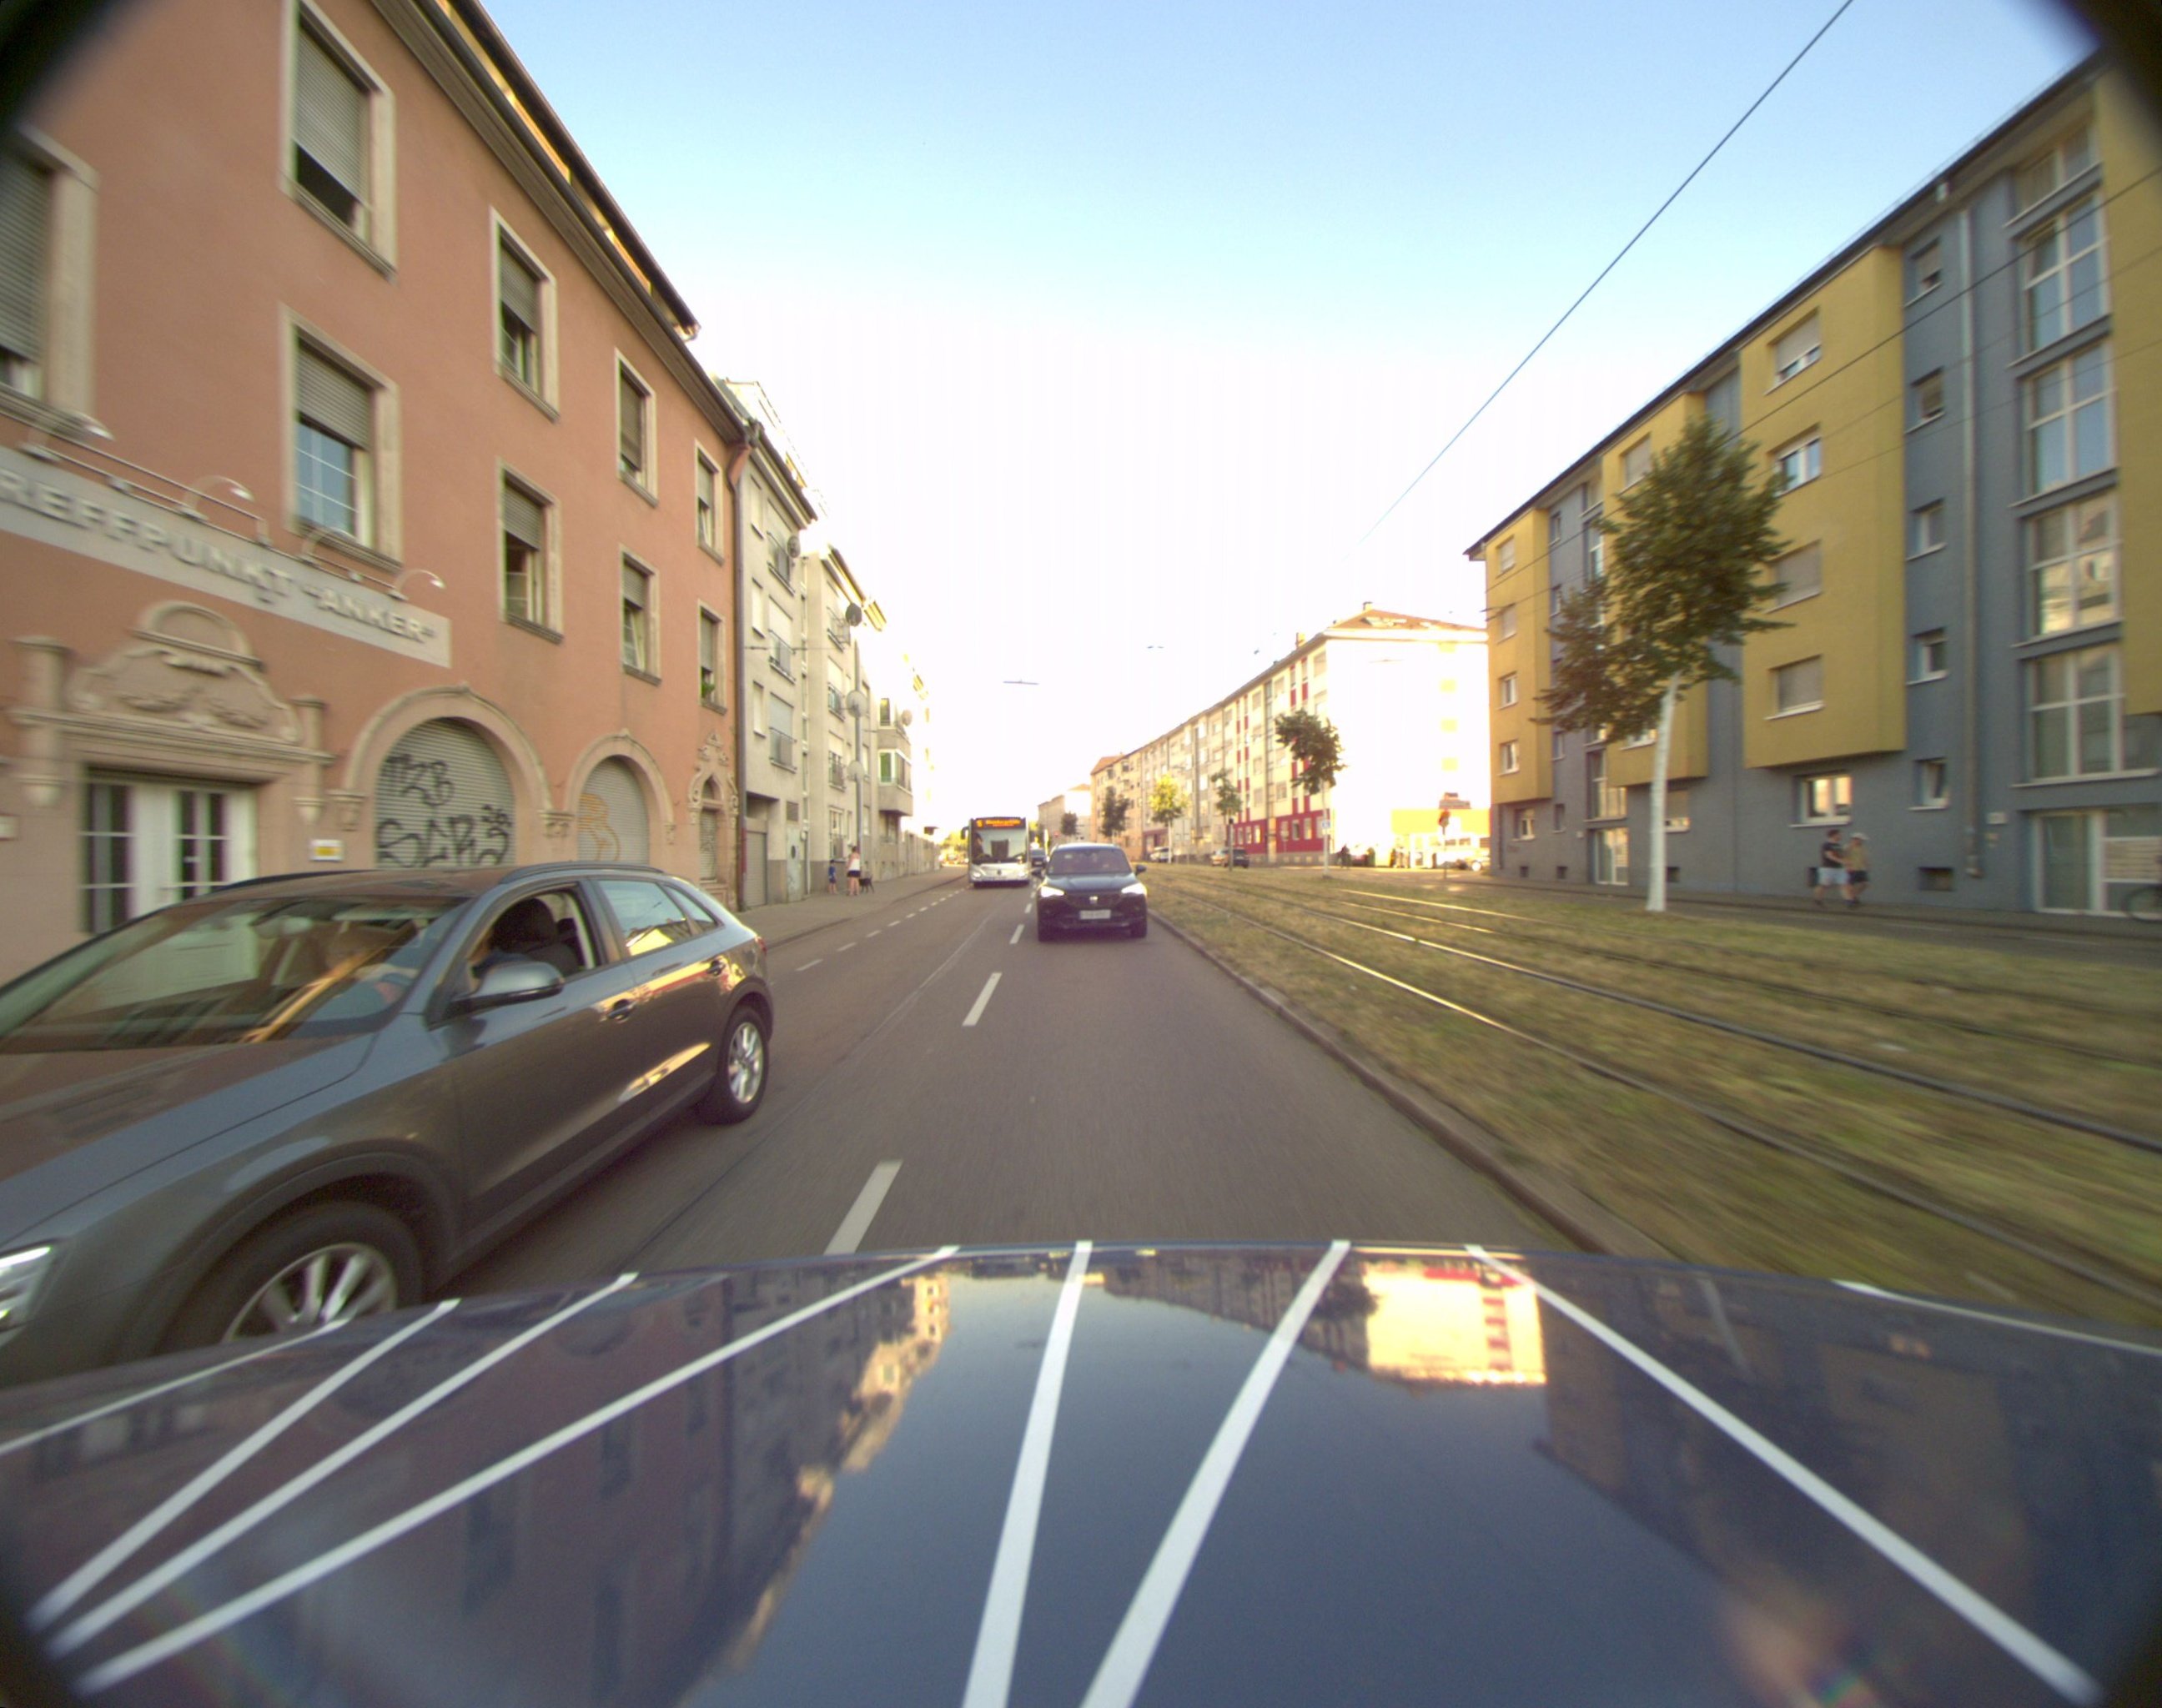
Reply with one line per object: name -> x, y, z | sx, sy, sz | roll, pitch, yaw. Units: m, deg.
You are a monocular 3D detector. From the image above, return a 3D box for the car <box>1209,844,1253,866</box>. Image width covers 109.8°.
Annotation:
car -> 10.779, 0.026, 54.816 | 1.799, 1.460, 4.792 | 1, 1, -5

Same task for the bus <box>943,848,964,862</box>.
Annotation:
bus -> -28.682, 0.303, 170.082 | 3.878, 2.836, 13.812 | -2, 0, -12

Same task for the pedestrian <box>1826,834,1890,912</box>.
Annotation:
pedestrian -> 17.599, 0.422, 17.226 | 0.618, 1.685, 0.706 | -5, 1, -2

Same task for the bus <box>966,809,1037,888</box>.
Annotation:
bus -> -3.660, -0.233, 35.568 | 2.733, 3.059, 10.594 | -2, 0, -5

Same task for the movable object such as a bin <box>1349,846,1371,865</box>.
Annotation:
movable object such as a bin -> 18.906, 0.080, 51.575 | 1.161, 1.279, 0.805 | -1, 1, -6

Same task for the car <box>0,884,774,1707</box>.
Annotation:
car -> -2.891, 0.997, 2.876 | 1.771, 1.578, 4.068 | -2, 0, 0

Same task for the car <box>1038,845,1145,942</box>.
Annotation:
car -> 0.171, 0.688, 15.298 | 1.788, 1.614, 4.216 | -2, 0, 0

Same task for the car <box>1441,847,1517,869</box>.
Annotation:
car -> 24.697, 0.224, 47.186 | 3.873, 1.286, 1.701 | -1, 0, -5

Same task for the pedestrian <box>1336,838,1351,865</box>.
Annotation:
pedestrian -> 16.906, -0.156, 48.889 | 0.615, 1.679, 0.791 | -1, 1, -7

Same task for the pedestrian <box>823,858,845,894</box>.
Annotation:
pedestrian -> -8.519, 0.758, 26.237 | 0.589, 1.244, 0.584 | 0, 0, -2

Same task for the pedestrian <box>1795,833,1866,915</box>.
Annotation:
pedestrian -> 16.795, 0.437, 17.048 | 0.594, 1.763, 0.885 | -5, 1, -2

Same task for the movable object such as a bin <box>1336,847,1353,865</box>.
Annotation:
movable object such as a bin -> 17.835, 0.125, 51.446 | 0.869, 1.219, 0.805 | -1, 1, -6

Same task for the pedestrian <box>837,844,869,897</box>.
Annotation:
pedestrian -> -7.705, 0.549, 25.717 | 0.832, 1.761, 0.995 | 0, 0, -2

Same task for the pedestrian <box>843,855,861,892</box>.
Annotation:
pedestrian -> -8.347, 0.699, 27.759 | 0.515, 1.337, 0.609 | 0, 2, -6

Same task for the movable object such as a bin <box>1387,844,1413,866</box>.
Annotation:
movable object such as a bin -> 21.051, 0.072, 50.163 | 1.220, 1.407, 1.107 | -1, 1, -6

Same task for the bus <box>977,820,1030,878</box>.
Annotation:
bus -> -4.661, -0.265, 46.121 | 2.713, 3.059, 10.594 | -2, 0, -5

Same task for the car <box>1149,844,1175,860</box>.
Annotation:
car -> 9.353, -0.246, 87.999 | 1.873, 1.818, 4.417 | -1, 0, -10

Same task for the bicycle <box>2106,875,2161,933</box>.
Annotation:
bicycle -> 18.018, 0.838, 12.218 | 0.428, 0.920, 1.911 | -4, 1, -1

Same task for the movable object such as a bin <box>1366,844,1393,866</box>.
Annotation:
movable object such as a bin -> 19.635, 0.065, 49.997 | 1.220, 1.407, 1.137 | -1, 1, -6
